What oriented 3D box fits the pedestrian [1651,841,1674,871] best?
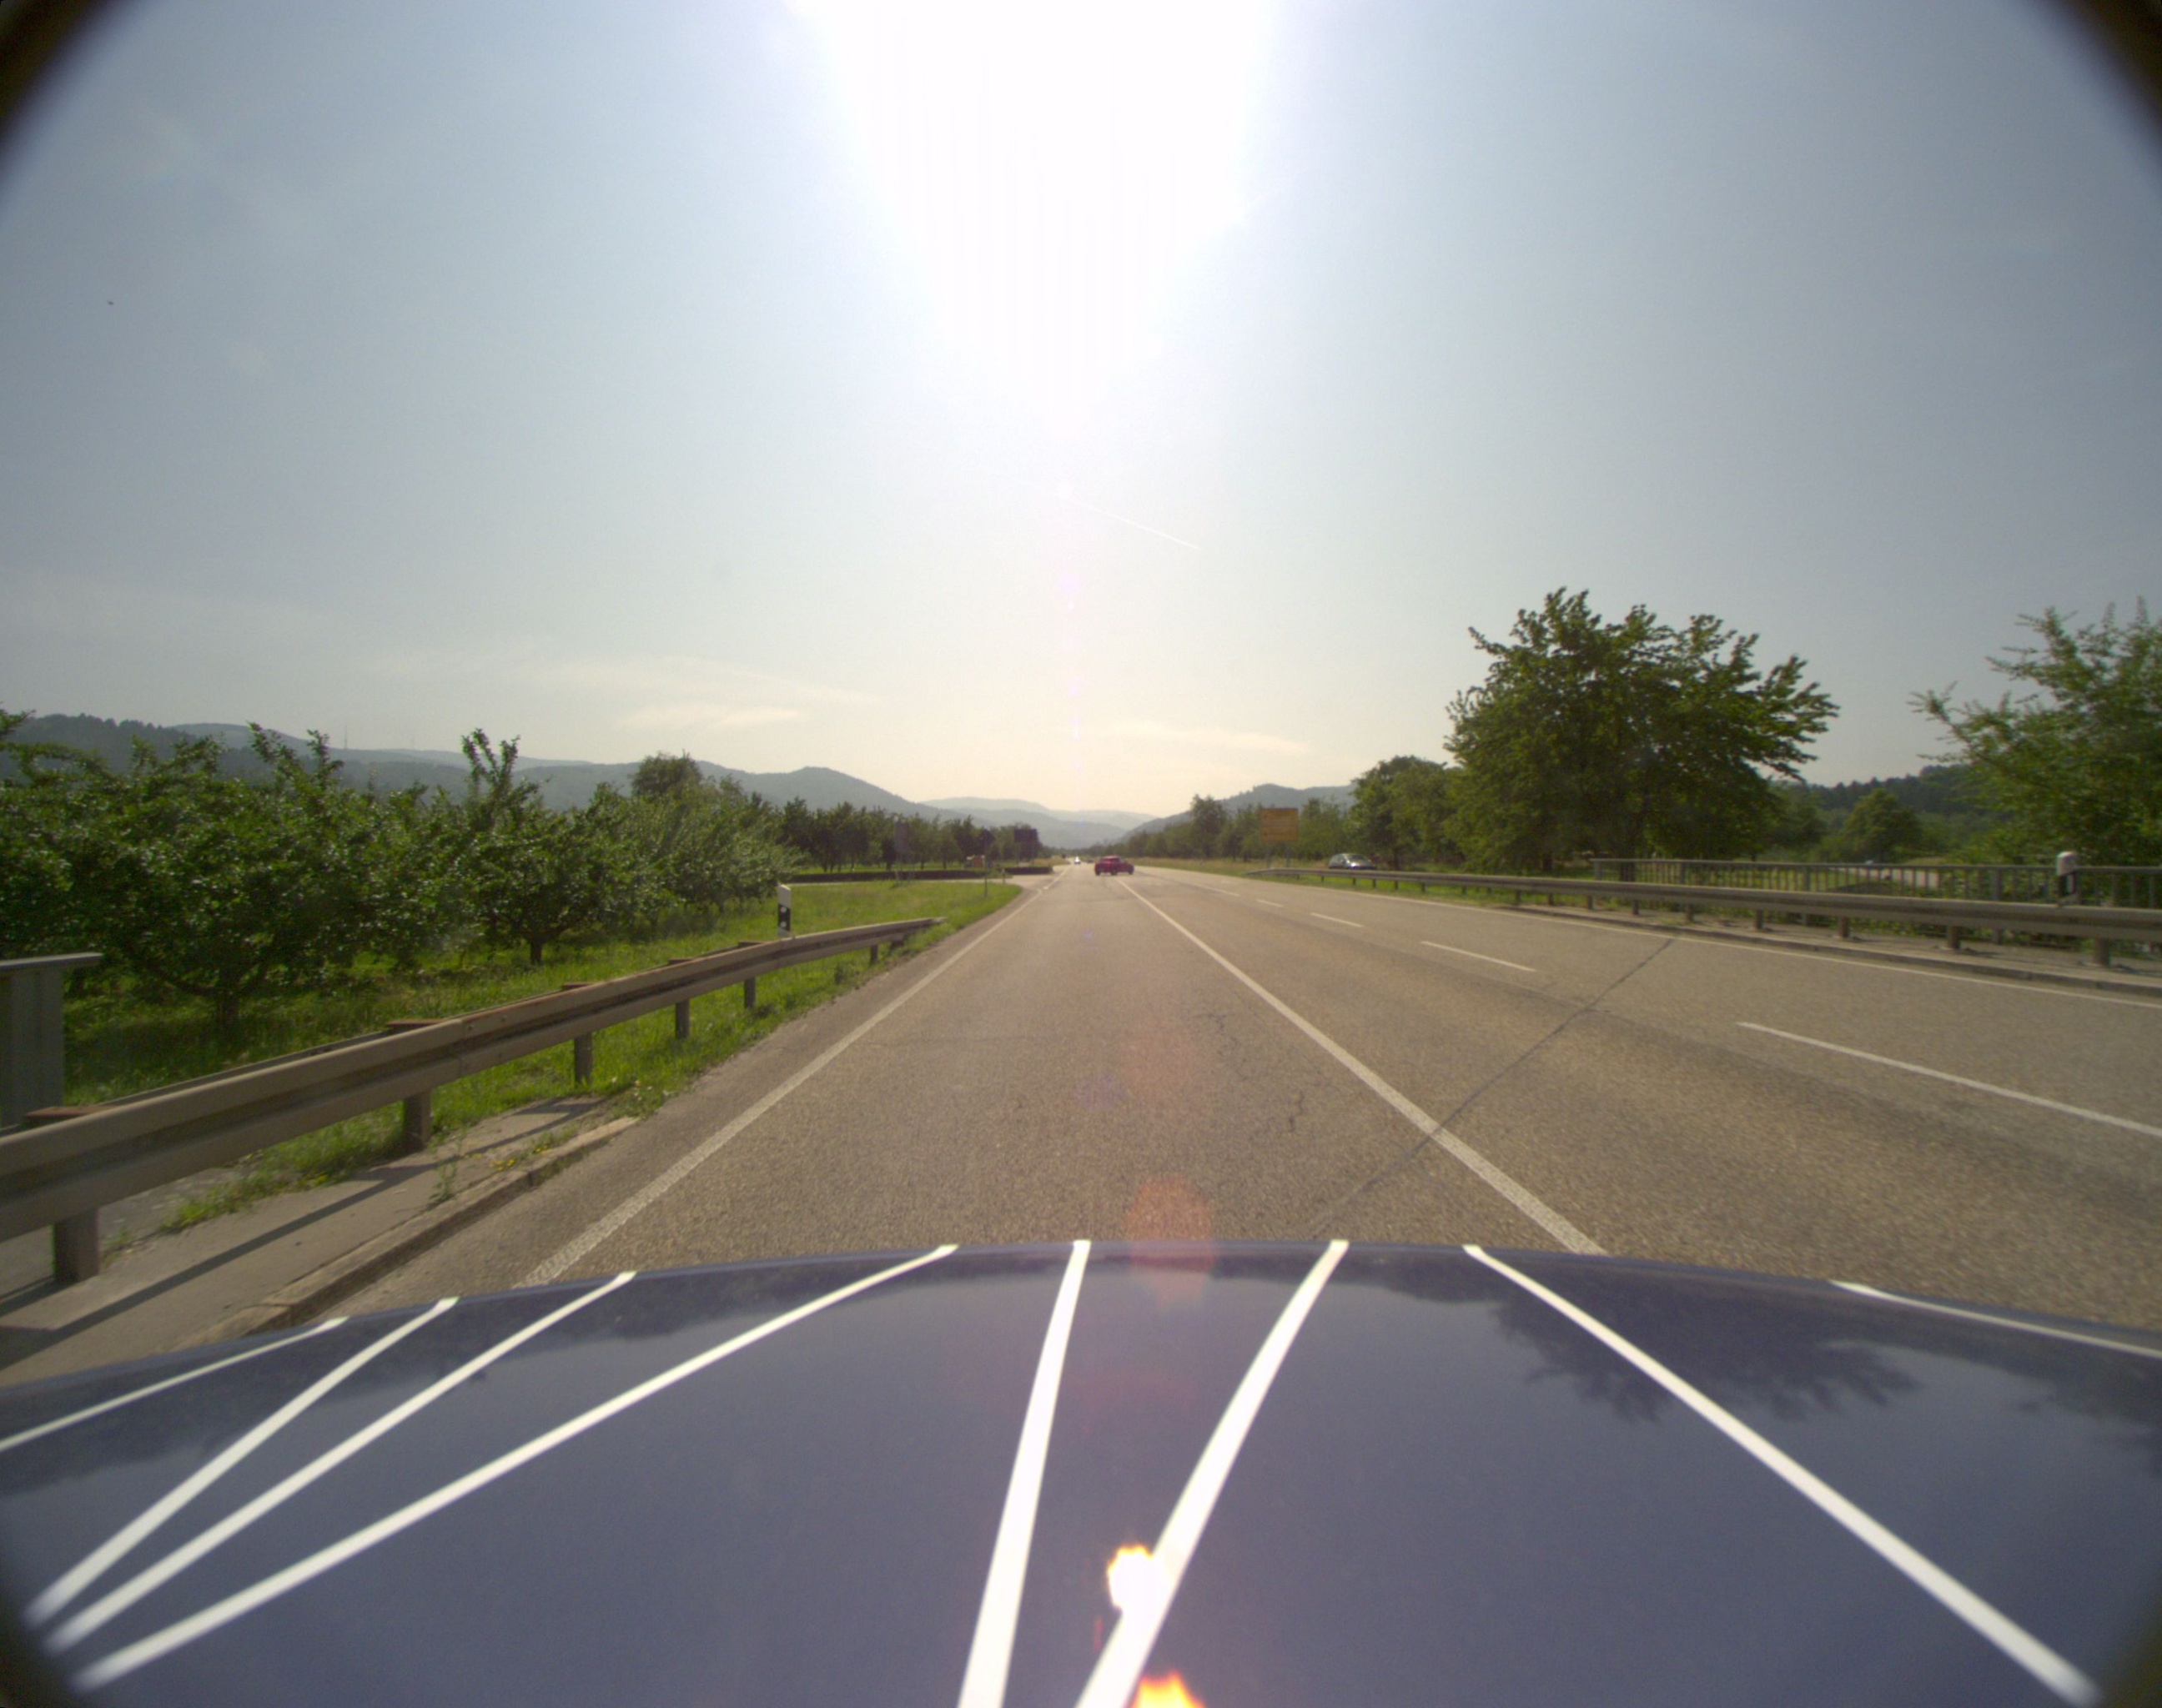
[{"bbox_3d":[25.746,0.095,33.644,0.574,1.290,0.556,-2,1,2],"label":"pedestrian"}]

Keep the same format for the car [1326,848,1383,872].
[{"bbox_3d":[16.531,0.340,46.141,1.709,1.414,4.041,-1,0,-4],"label":"car"}]

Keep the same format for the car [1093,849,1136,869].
[{"bbox_3d":[2.745,0.373,62.046,1.667,1.484,3.759,-1,1,37],"label":"car"}]
